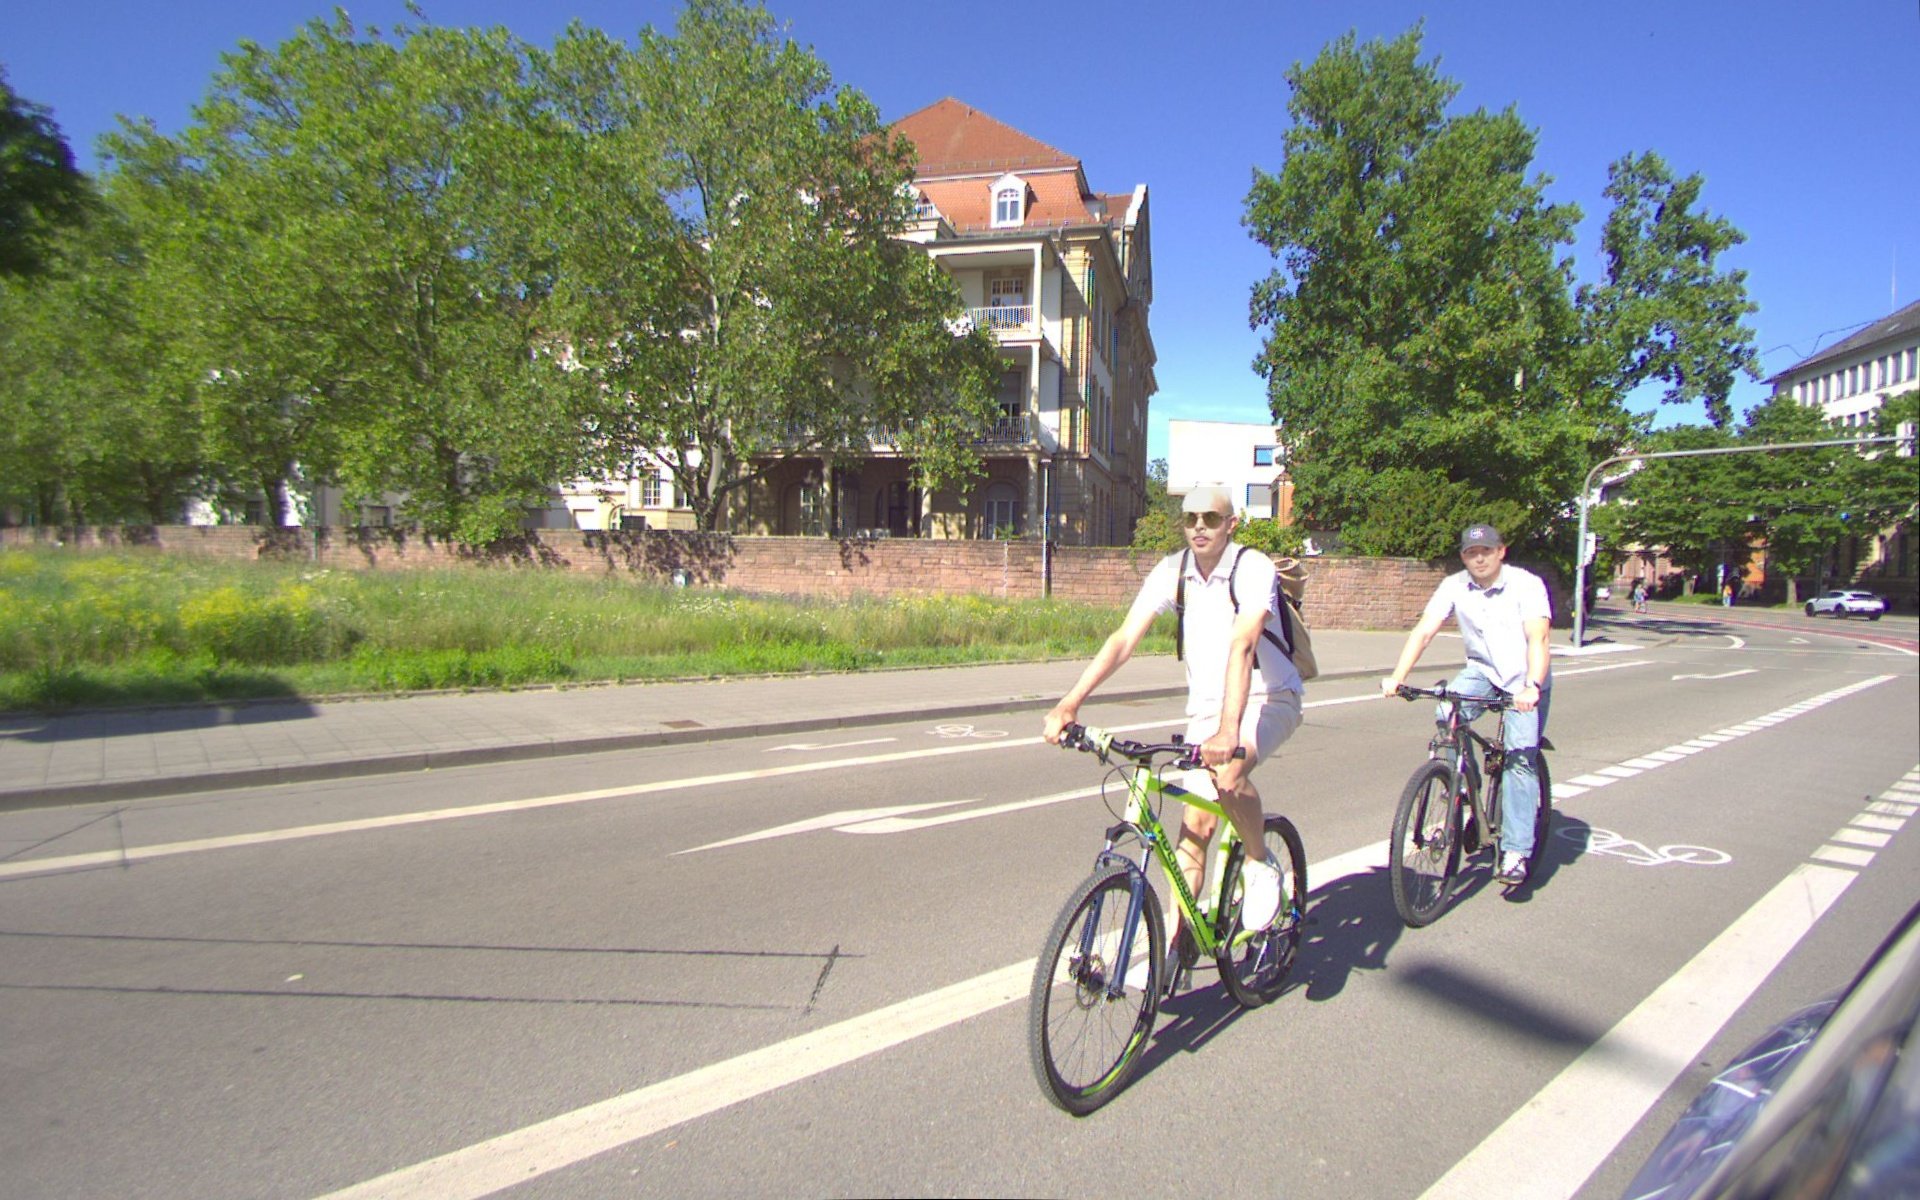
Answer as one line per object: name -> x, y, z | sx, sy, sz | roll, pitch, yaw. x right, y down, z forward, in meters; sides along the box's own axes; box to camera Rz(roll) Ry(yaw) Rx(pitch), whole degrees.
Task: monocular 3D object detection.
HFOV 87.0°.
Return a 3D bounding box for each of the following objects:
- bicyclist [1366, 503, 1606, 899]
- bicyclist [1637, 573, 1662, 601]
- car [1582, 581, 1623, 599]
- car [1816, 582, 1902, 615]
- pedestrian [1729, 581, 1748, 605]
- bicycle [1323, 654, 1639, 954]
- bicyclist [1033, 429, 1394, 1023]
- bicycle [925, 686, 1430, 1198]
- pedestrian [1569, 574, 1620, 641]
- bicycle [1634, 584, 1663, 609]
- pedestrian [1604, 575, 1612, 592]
bicyclist -> 2.540, 0.417, 4.889 | 0.851, 1.695, 0.741 | 0, 2, -42
bicyclist -> 40.736, -0.771, 59.820 | 0.859, 1.579, 1.272 | 2, 2, 20
car -> 58.019, -0.932, 91.455 | 1.822, 1.504, 4.149 | 2, 2, 14
car -> 50.067, -0.115, 56.487 | 1.822, 1.571, 4.315 | 3, 3, 16
pedestrian -> 61.333, -0.540, 79.722 | 0.745, 1.835, 0.978 | 1, 1, 9
bicycle -> 2.612, 0.870, 4.973 | 1.870, 1.063, 0.749 | 0, 2, -42
bicyclist -> 0.854, 0.334, 3.342 | 1.062, 1.603, 0.675 | 0, 0, -41
bicycle -> 0.793, 0.891, 3.286 | 1.812, 1.064, 0.672 | 0, 0, -42
pedestrian -> 18.474, 0.202, 29.480 | 0.718, 1.872, 0.961 | 0, 3, -37
bicycle -> 40.771, -0.241, 59.939 | 0.753, 1.385, 2.720 | 2, 2, 20
pedestrian -> 69.869, -1.761, 109.131 | 0.752, 1.836, 0.968 | 0, -3, 35
